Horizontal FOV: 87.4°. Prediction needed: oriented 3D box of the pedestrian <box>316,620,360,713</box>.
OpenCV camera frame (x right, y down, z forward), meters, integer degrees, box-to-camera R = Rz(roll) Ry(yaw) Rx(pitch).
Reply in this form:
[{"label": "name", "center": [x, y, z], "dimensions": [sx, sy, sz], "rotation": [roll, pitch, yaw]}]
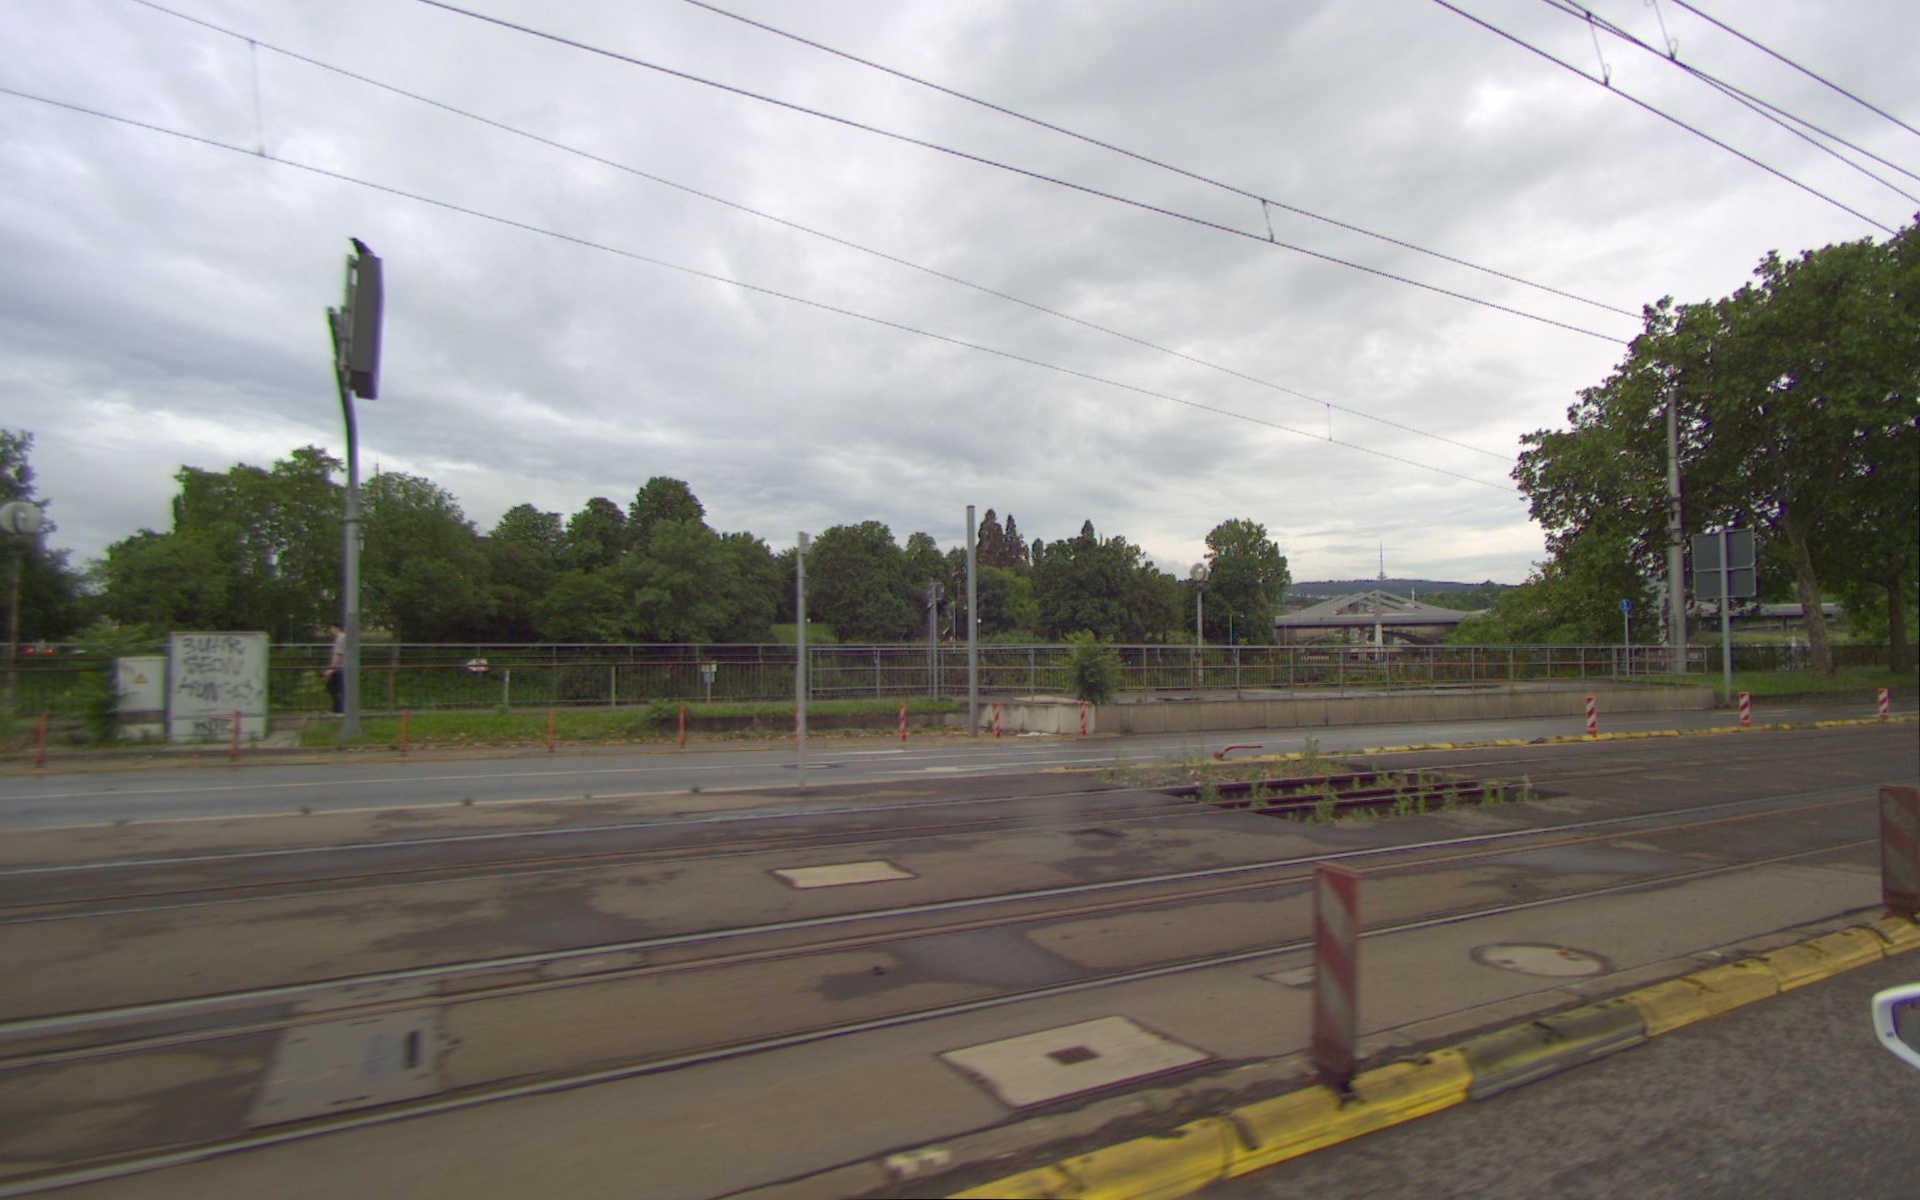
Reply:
[{"label": "pedestrian", "center": [-11.689, 1.248, 18.898], "dimensions": [0.611, 1.709, 0.761], "rotation": [2, -3, -29]}]
